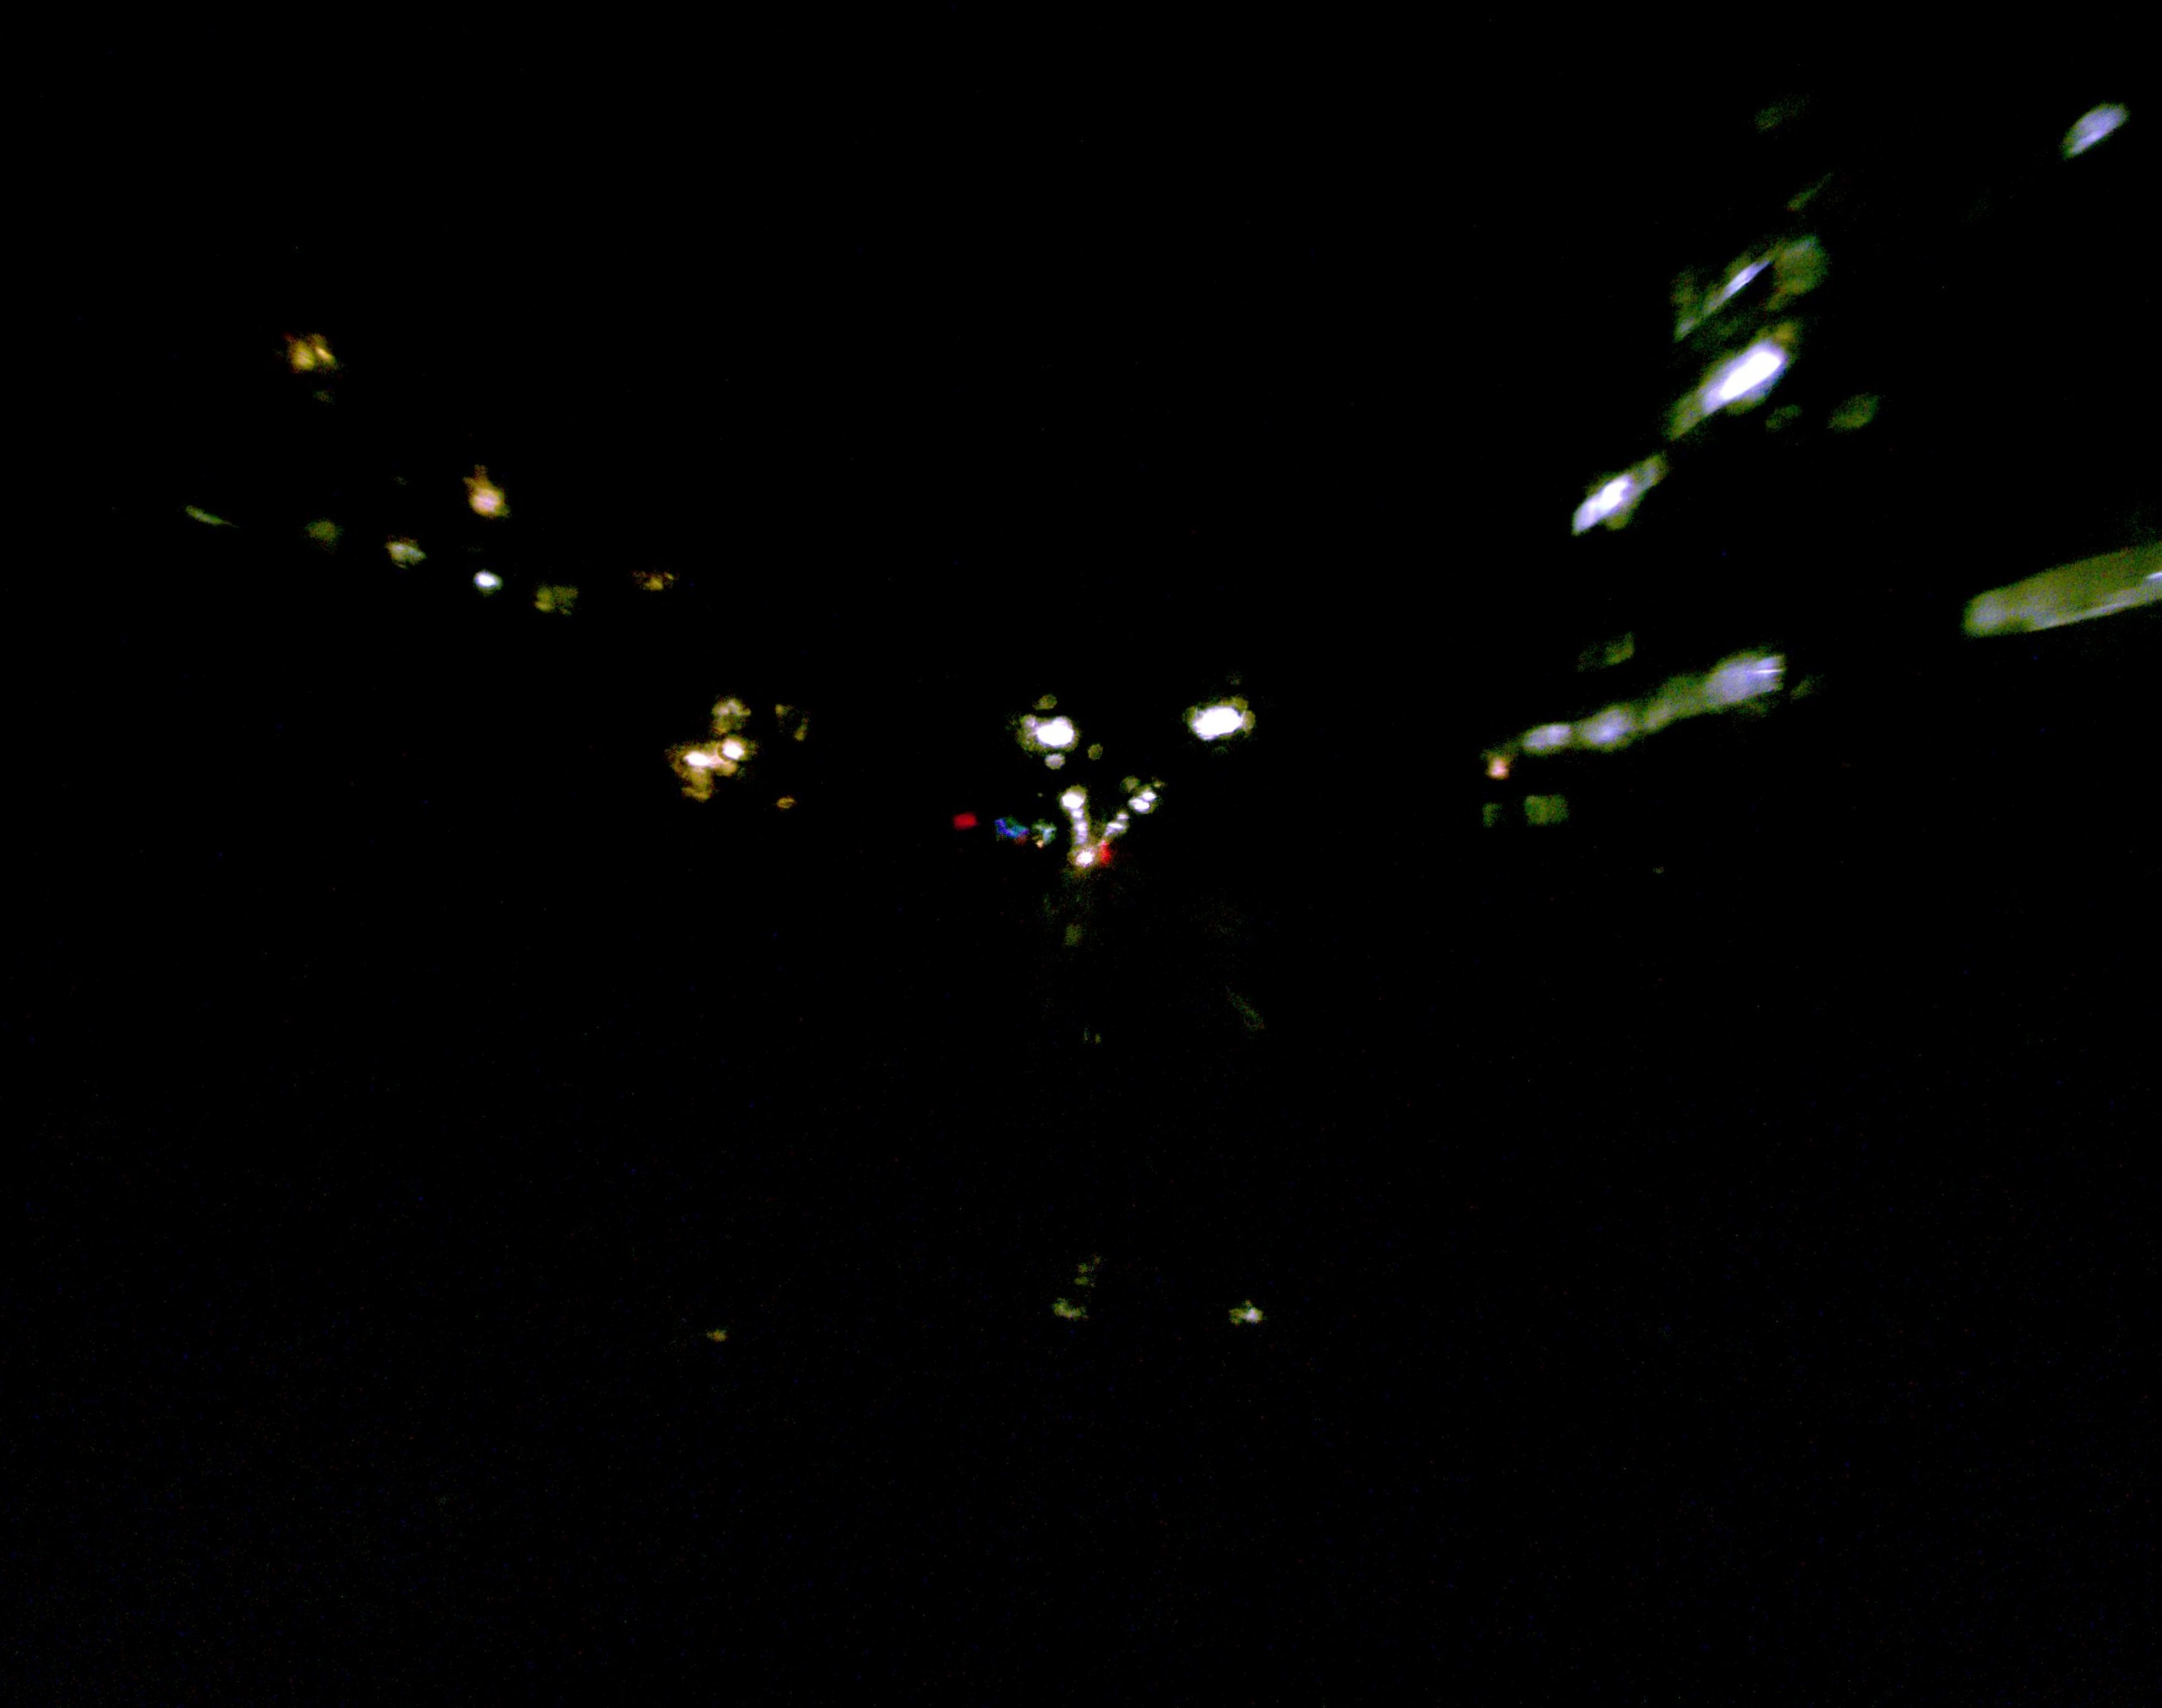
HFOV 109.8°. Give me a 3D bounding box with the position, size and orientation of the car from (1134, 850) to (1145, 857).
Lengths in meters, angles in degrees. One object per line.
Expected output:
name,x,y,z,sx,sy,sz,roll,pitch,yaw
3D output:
car,11.745,-0.084,153.213,1.845,1.415,4.207,0,1,-2

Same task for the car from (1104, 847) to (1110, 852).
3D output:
car,7.873,-1.464,228.243,1.780,1.509,4.051,-1,0,1

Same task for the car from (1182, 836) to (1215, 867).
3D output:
car,10.347,-0.222,67.462,2.190,2.576,6.393,-1,0,3

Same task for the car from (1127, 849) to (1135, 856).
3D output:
car,12.727,-0.319,193.950,1.814,1.569,4.353,-4,0,1

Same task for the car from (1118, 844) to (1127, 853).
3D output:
car,12.954,-1.707,235.928,2.248,2.494,5.258,-3,1,-2

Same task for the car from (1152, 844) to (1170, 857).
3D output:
car,10.357,-0.472,98.388,1.974,1.646,4.601,-3,1,2

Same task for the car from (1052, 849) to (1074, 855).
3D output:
car,-4.165,-0.496,174.475,4.604,1.467,1.837,0,1,-19

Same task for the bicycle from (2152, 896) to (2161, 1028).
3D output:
bicycle,9.714,0.867,5.910,1.858,1.071,0.627,-1,1,1

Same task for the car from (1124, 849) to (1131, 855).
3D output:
car,12.347,-0.453,202.937,1.723,1.447,3.950,-1,1,0

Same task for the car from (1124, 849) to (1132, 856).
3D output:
car,11.290,-0.365,183.246,1.735,1.430,4.625,-1,1,1

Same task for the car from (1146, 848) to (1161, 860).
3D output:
car,11.098,-0.009,116.818,1.988,1.622,4.516,-1,1,1

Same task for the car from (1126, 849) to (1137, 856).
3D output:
car,10.860,-0.243,162.734,1.778,1.432,4.606,0,1,-3

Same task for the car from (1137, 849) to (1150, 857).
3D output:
car,11.735,-0.167,142.750,1.893,1.454,4.958,-1,1,-3
